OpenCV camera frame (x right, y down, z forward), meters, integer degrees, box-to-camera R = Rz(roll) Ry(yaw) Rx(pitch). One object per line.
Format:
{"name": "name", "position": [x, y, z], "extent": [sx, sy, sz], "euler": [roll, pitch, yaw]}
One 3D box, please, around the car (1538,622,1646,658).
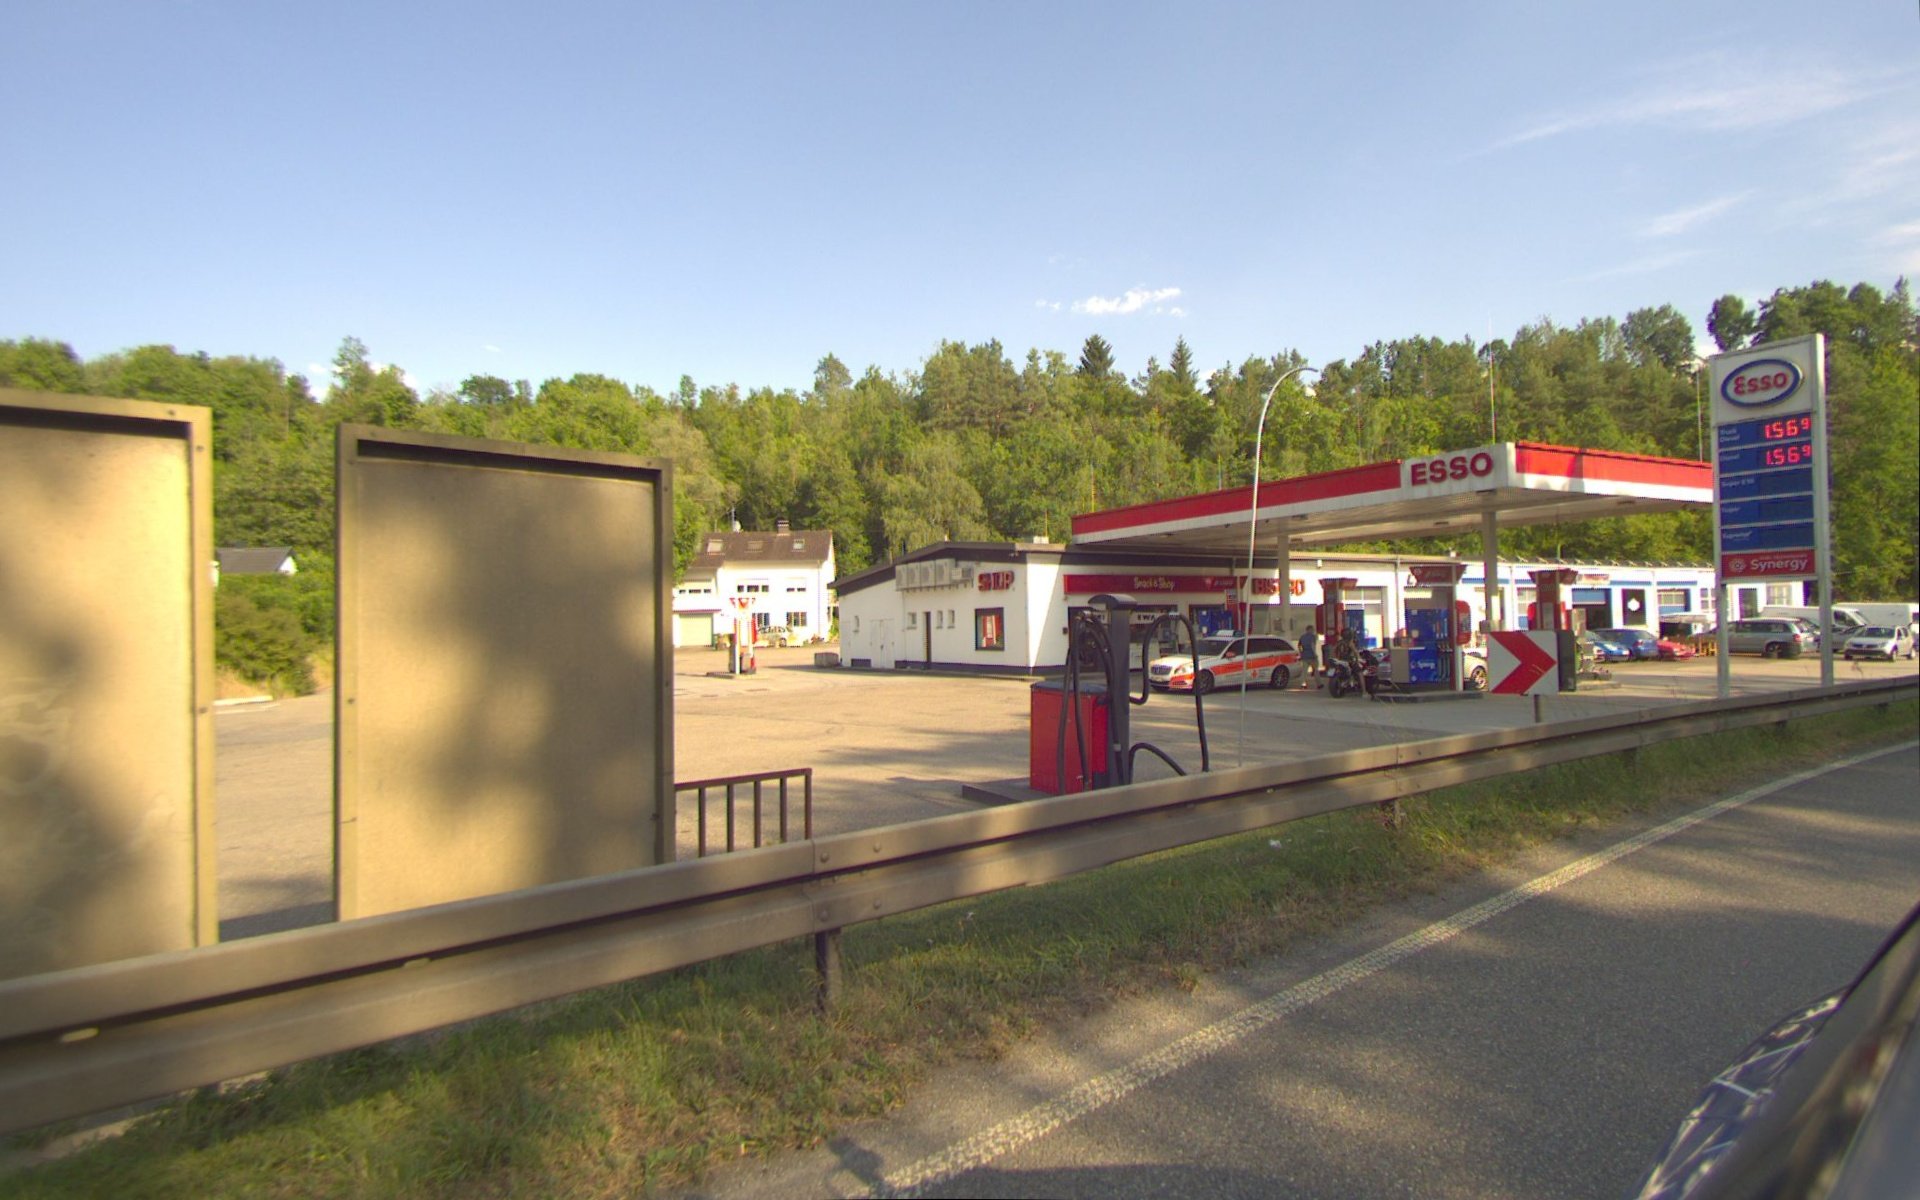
{"name": "car", "position": [26.892, 1.680, 43.175], "extent": [1.657, 1.424, 3.565], "euler": [0, -1, -29]}

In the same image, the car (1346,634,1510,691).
{"name": "car", "position": [12.650, 1.638, 27.322], "extent": [4.301, 1.336, 1.850], "euler": [0, -1, -29]}

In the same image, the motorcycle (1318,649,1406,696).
{"name": "motorcycle", "position": [9.970, 1.775, 25.081], "extent": [2.294, 1.025, 0.765], "euler": [0, -1, -30]}

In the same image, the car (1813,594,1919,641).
{"name": "car", "position": [51.843, 0.943, 57.317], "extent": [2.164, 2.480, 4.928], "euler": [0, 1, -31]}

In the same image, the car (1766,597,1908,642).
{"name": "car", "position": [48.342, 1.008, 55.925], "extent": [2.249, 2.302, 5.498], "euler": [0, 1, -29]}

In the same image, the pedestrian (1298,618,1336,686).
{"name": "pedestrian", "position": [9.670, 1.400, 27.412], "extent": [0.606, 1.800, 0.706], "euler": [0, -2, -25]}

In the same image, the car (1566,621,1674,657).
{"name": "car", "position": [28.787, 1.682, 44.259], "extent": [1.699, 1.464, 3.559], "euler": [0, -1, -29]}

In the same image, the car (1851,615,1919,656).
{"name": "car", "position": [41.476, 1.550, 45.027], "extent": [3.912, 1.616, 1.797], "euler": [0, 1, -33]}

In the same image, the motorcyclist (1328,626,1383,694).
{"name": "motorcyclist", "position": [9.760, 1.464, 24.979], "extent": [0.909, 1.625, 0.861], "euler": [0, -2, -30]}

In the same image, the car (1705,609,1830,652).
{"name": "car", "position": [38.117, 1.399, 47.869], "extent": [1.855, 1.750, 4.265], "euler": [0, 1, -32]}

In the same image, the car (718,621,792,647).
{"name": "car", "position": [-15.294, 2.526, 75.743], "extent": [5.065, 1.860, 2.702], "euler": [-1, -2, -3]}

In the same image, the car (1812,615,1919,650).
{"name": "car", "position": [44.618, 1.540, 49.019], "extent": [1.918, 1.452, 4.740], "euler": [0, 1, -31]}

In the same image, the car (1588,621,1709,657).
{"name": "car", "position": [30.663, 1.707, 45.173], "extent": [1.856, 1.365, 4.085], "euler": [0, 1, -29]}

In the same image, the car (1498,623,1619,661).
{"name": "car", "position": [24.711, 1.692, 41.919], "extent": [1.742, 1.372, 3.971], "euler": [0, 0, -33]}

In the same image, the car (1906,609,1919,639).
{"name": "car", "position": [57.001, 1.423, 57.433], "extent": [4.351, 1.691, 1.930], "euler": [2, 0, 21]}

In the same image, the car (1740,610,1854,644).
{"name": "car", "position": [44.270, 1.397, 53.629], "extent": [1.857, 1.631, 4.259], "euler": [0, 0, -29]}

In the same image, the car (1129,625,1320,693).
{"name": "car", "position": [7.293, 1.531, 27.776], "extent": [5.076, 1.649, 2.101], "euler": [0, -1, -30]}
